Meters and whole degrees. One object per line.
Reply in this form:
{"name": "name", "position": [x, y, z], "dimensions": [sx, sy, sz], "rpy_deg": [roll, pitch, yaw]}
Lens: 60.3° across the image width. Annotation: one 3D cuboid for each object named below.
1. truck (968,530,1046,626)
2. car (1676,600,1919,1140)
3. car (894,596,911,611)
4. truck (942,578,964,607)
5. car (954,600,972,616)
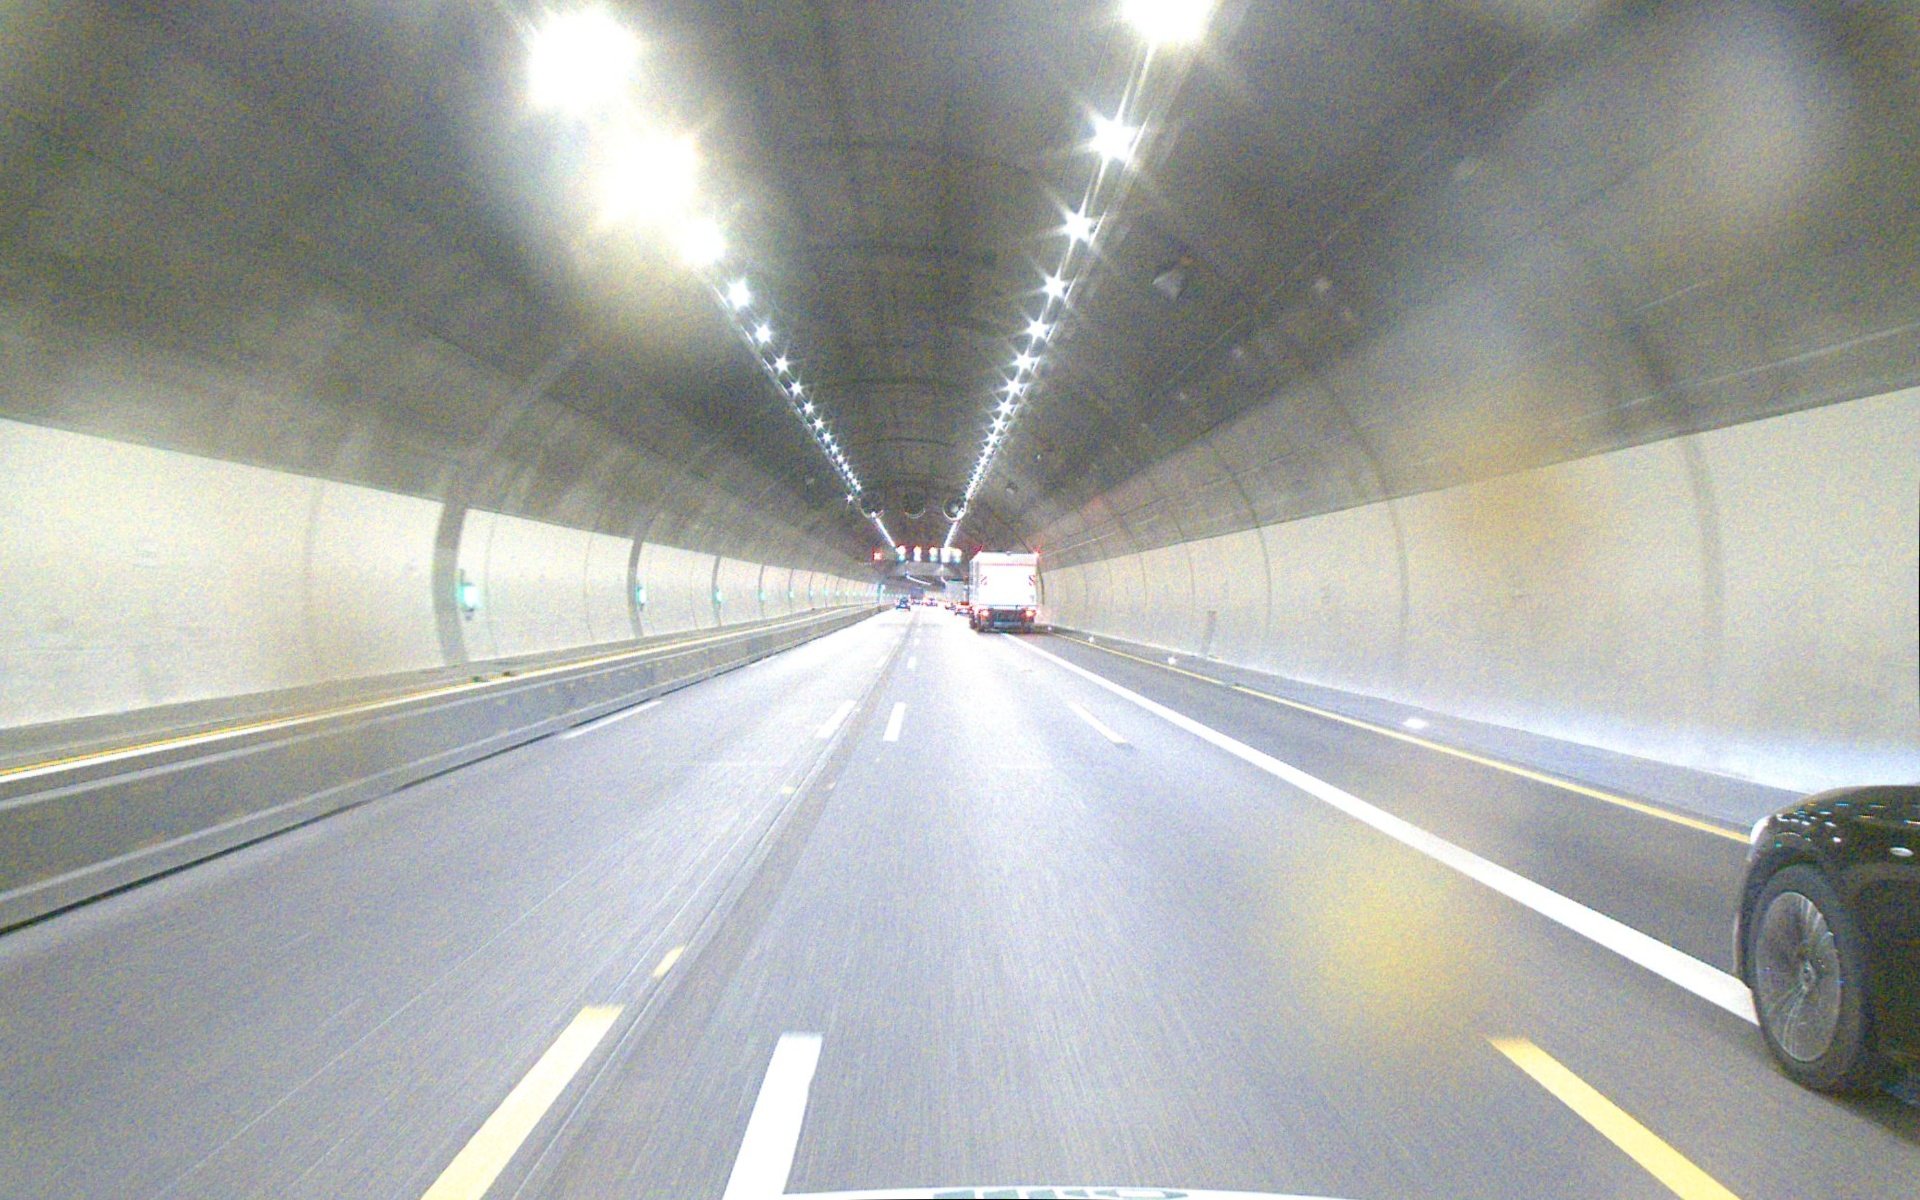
{"name": "truck", "position": [2.009, -0.883, 75.414], "dimensions": [3.029, 3.986, 10.365], "rpy_deg": [2, -1, -1]}
{"name": "car", "position": [3.637, 0.773, 3.661], "dimensions": [1.886, 1.498, 4.953], "rpy_deg": [2, 0, -1]}
{"name": "car", "position": [-6.226, 0.334, 179.101], "dimensions": [1.723, 1.486, 4.118], "rpy_deg": [1, 1, -1]}
{"name": "truck", "position": [-0.995, -1.039, 238.745], "dimensions": [3.003, 3.986, 10.367], "rpy_deg": [2, -1, 0]}
{"name": "car", "position": [0.299, 0.827, 164.095], "dimensions": [1.704, 1.486, 3.960], "rpy_deg": [2, 1, 0]}
